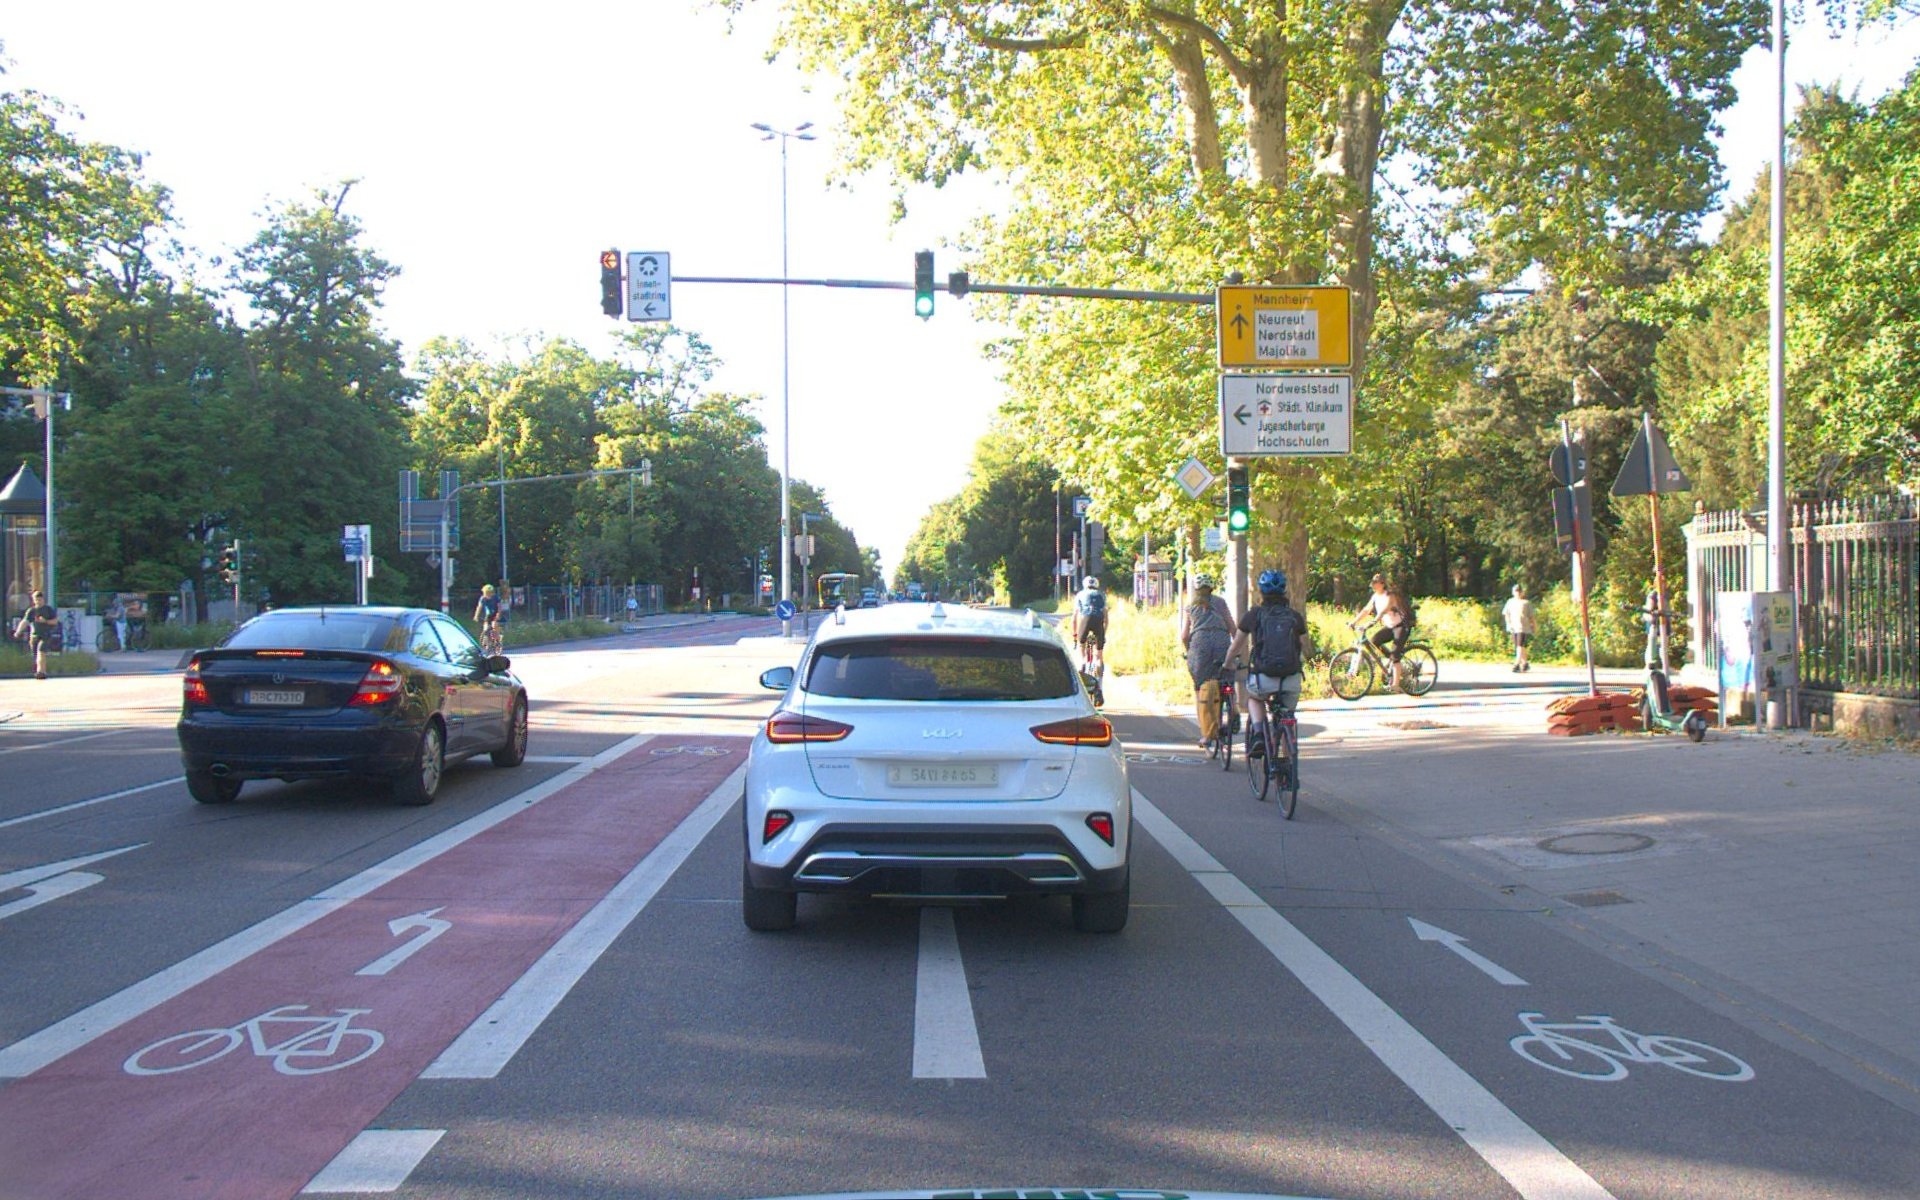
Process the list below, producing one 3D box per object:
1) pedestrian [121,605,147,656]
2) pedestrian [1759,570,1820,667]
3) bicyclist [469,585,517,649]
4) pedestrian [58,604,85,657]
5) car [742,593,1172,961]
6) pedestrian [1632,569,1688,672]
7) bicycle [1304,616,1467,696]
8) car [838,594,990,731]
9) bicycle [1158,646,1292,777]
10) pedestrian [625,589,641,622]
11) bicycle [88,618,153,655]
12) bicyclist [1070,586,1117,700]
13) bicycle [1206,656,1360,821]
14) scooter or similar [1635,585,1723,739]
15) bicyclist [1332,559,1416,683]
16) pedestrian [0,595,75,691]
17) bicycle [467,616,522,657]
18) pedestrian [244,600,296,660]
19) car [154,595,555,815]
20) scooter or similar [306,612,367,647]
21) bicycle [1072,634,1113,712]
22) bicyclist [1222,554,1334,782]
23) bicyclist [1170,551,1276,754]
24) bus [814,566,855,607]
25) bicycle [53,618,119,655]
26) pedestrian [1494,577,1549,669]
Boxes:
[{"bbox_3d":[-26.213,0.979,52.472,0.617,1.608,0.444,0,-1,-11],"label":"pedestrian"},{"bbox_3d":[14.815,0.328,29.552,0.808,1.711,0.694,0,-1,13],"label":"pedestrian"},{"bbox_3d":[-12.237,0.444,43.391,0.857,1.636,1.188,-1,0,1],"label":"bicyclist"},{"bbox_3d":[-28.271,0.965,52.618,0.617,1.671,0.444,0,-1,-11],"label":"pedestrian"},{"bbox_3d":[-0.083,0.721,8.839,1.785,1.506,3.934,0,0,-2],"label":"car"},{"bbox_3d":[11.890,0.341,28.115,0.675,1.729,0.644,0,-1,-1],"label":"pedestrian"},{"bbox_3d":[5.854,0.761,22.792,2.057,0.993,0.748,-2,0,-14],"label":"bicycle"},{"bbox_3d":[-0.598,0.704,20.587,1.694,1.509,3.515,-1,0,-3],"label":"car"},{"bbox_3d":[2.448,1.003,15.607,0.742,1.031,2.568,1,0,-2],"label":"bicycle"},{"bbox_3d":[-18.219,0.327,92.119,0.769,1.817,0.751,0,-1,0],"label":"pedestrian"},{"bbox_3d":[-26.731,1.147,52.677,1.826,1.168,0.290,0,-1,-8],"label":"bicycle"},{"bbox_3d":[1.785,0.570,22.161,0.543,1.504,0.716,0,-1,-1],"label":"bicyclist"},{"bbox_3d":[2.338,0.975,12.216,0.655,1.027,2.080,1,0,-2],"label":"bicycle"},{"bbox_3d":[6.557,0.539,15.113,0.223,1.350,1.171,-1,0,-2],"label":"scooter or similar"},{"bbox_3d":[5.687,0.278,22.754,0.832,1.641,0.733,-2,0,-13],"label":"bicyclist"},{"bbox_3d":[-20.260,0.929,36.288,0.974,2.049,1.191,0,-1,4],"label":"pedestrian"},{"bbox_3d":[-12.222,0.944,43.516,0.650,1.006,2.504,-1,0,1],"label":"bicycle"},{"bbox_3d":[-19.416,0.844,46.553,1.067,1.631,0.999,-1,0,-7],"label":"pedestrian"},{"bbox_3d":[-4.601,0.697,13.280,1.670,1.429,4.264,-1,0,-1],"label":"car"},{"bbox_3d":[-20.898,0.981,55.468,0.697,1.144,1.916,0,0,31],"label":"scooter or similar"},{"bbox_3d":[1.765,0.958,22.137,0.393,0.973,1.550,0,0,-1],"label":"bicycle"},{"bbox_3d":[2.342,0.489,12.242,0.652,1.630,0.720,1,0,-2],"label":"bicyclist"},{"bbox_3d":[2.461,0.474,15.585,0.738,1.827,1.164,1,0,-2],"label":"bicyclist"},{"bbox_3d":[-12.122,-1.313,160.816,3.667,3.737,13.230,-1,0,-4],"label":"bus"},{"bbox_3d":[-27.977,1.155,52.961,1.826,1.168,0.442,0,-1,-8],"label":"bicycle"},{"bbox_3d":[9.630,0.388,28.354,0.802,1.544,0.915,0,-1,25],"label":"pedestrian"}]
